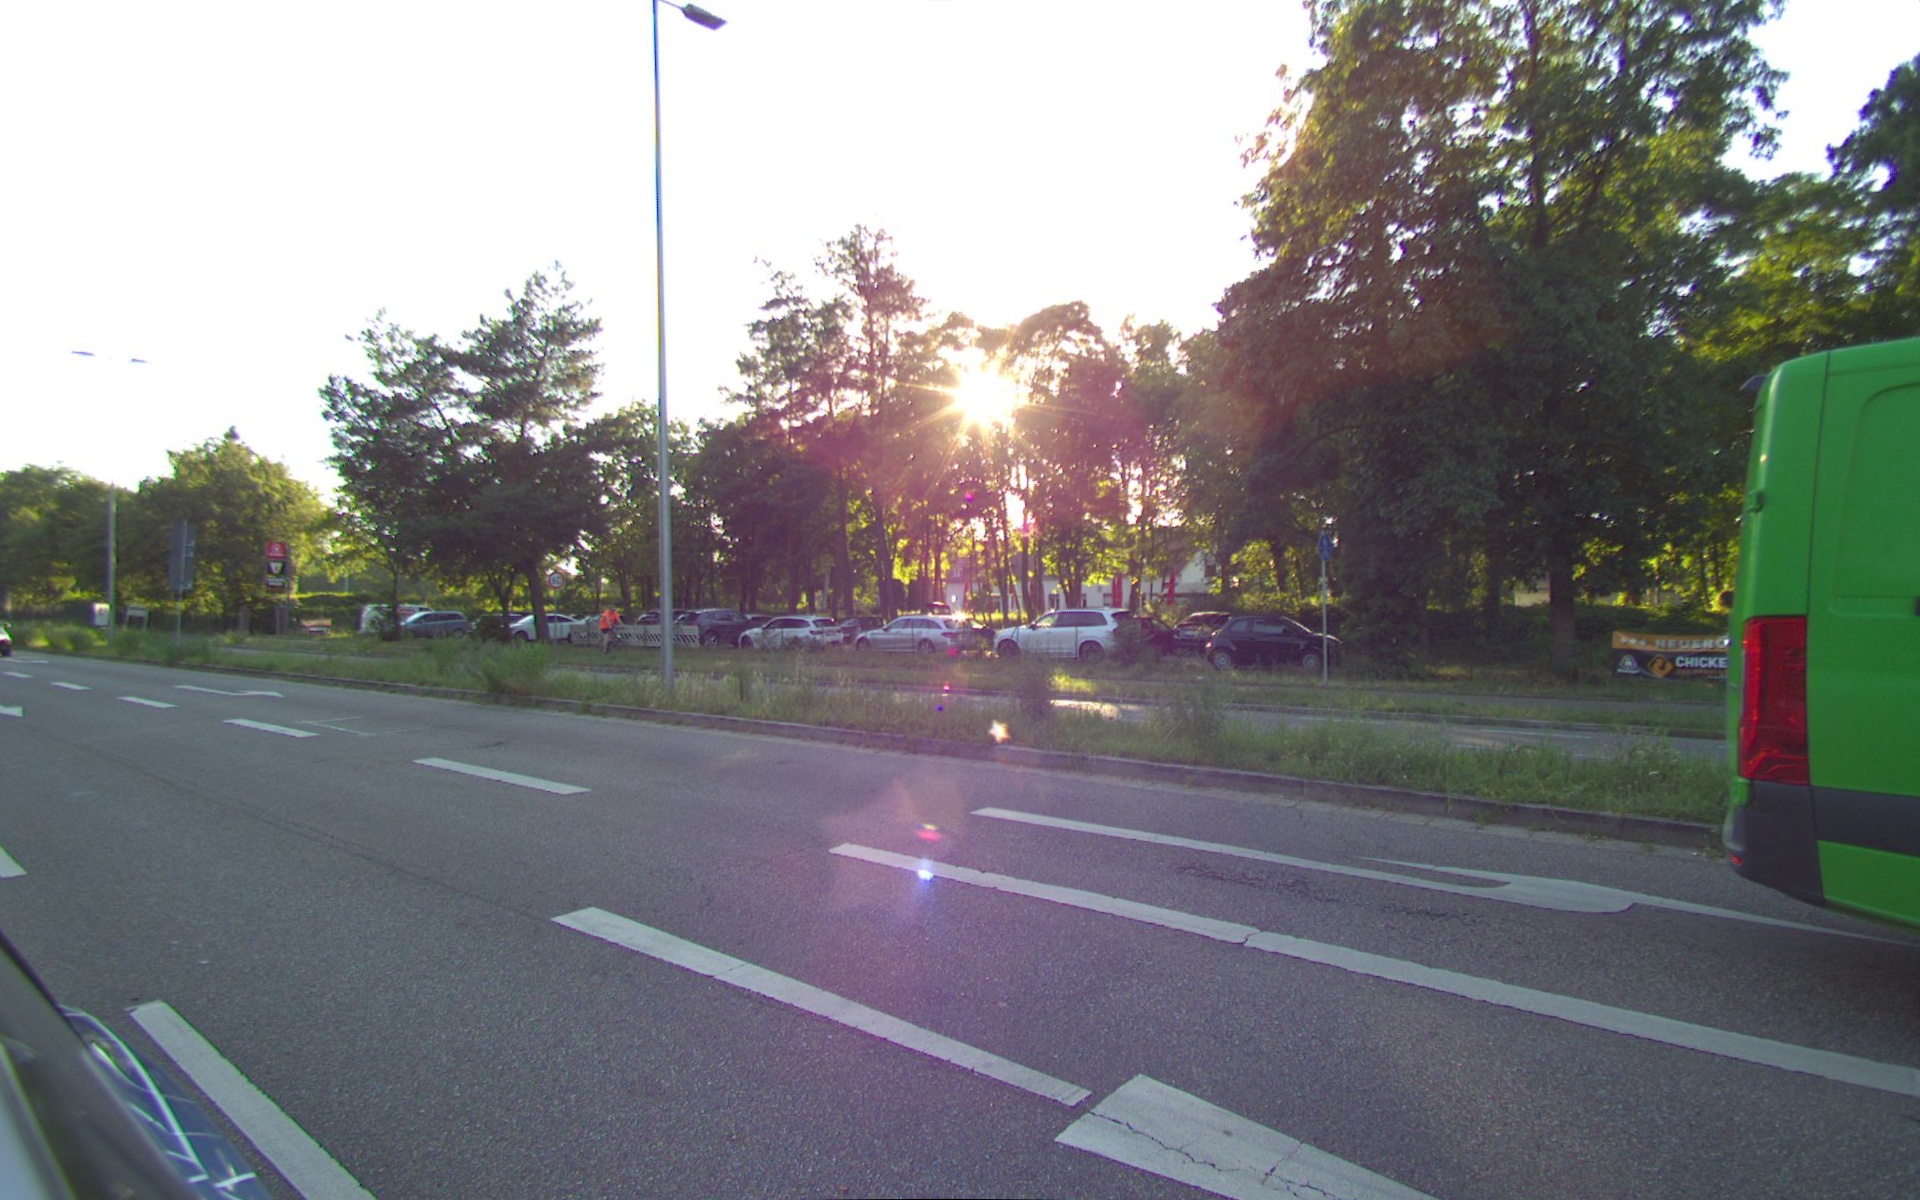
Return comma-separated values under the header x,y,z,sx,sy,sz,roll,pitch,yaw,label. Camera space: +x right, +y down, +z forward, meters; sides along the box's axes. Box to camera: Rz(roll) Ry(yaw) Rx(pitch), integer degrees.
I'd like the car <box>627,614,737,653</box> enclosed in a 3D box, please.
x,y,z,sx,sy,sz,roll,pitch,yaw,label
-11.982,1.421,43.919,1.769,1.629,4.470,-1,-2,37,car

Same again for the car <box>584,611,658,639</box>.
x,y,z,sx,sy,sz,roll,pitch,yaw,label
-20.488,1.511,61.240,1.765,1.663,3.947,-1,-2,40,car

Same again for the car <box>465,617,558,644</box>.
x,y,z,sx,sy,sz,roll,pitch,yaw,label
-22.723,1.543,51.371,1.731,1.322,3.947,-1,-2,39,car

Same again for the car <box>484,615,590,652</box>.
x,y,z,sx,sy,sz,roll,pitch,yaw,label
-20.796,1.627,49.846,1.908,1.767,4.441,-1,-2,39,car

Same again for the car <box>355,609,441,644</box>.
x,y,z,sx,sy,sz,roll,pitch,yaw,label
-32.534,1.521,58.668,1.764,1.959,3.949,-1,-2,38,car

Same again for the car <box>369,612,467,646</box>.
x,y,z,sx,sy,sz,roll,pitch,yaw,label
-30.263,1.610,56.640,1.907,1.811,4.443,-1,-2,38,car

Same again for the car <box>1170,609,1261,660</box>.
x,y,z,sx,sy,sz,roll,pitch,yaw,label
9.007,1.178,35.443,1.914,1.663,3.954,-1,-1,34,car

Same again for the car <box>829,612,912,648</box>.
x,y,z,sx,sy,sz,roll,pitch,yaw,label
-4.313,1.455,49.047,1.765,1.663,3.947,-1,-2,39,car

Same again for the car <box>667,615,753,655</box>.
x,y,z,sx,sy,sz,roll,pitch,yaw,label
-10.147,1.409,41.184,1.657,1.538,3.060,-1,-2,38,car

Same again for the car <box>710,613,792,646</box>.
x,y,z,sx,sy,sz,roll,pitch,yaw,label
-10.894,1.526,52.949,1.765,1.663,3.947,-1,-2,40,car

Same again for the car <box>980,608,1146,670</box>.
x,y,z,sx,sy,sz,roll,pitch,yaw,label
3.180,1.181,31.805,4.913,1.800,1.975,-1,-2,37,car

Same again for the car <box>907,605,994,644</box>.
x,y,z,sx,sy,sz,roll,pitch,yaw,label
-0.378,1.108,45.112,1.765,1.663,3.947,-1,-2,39,car

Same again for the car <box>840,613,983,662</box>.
x,y,z,sx,sy,sz,roll,pitch,yaw,label
-1.740,1.290,35.592,4.913,1.619,1.975,-1,-2,37,car

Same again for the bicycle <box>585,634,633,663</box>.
x,y,z,sx,sy,sz,roll,pitch,yaw,label
-12.006,1.656,34.561,2.040,0.940,0.487,-1,-2,36,bicycle

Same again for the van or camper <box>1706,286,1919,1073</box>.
x,y,z,sx,sy,sz,roll,pitch,yaw,label
5.451,0.222,2.318,5.892,2.439,1.973,-1,-2,40,van or camper

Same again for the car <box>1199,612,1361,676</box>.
x,y,z,sx,sy,sz,roll,pitch,yaw,label
8.578,1.151,27.249,3.807,1.609,1.838,-1,-2,36,car

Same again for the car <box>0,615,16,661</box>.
x,y,z,sx,sy,sz,roll,pitch,yaw,label
-34.110,1.288,34.733,3.996,1.564,1.974,-1,-2,39,car

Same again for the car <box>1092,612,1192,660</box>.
x,y,z,sx,sy,sz,roll,pitch,yaw,label
6.829,1.316,37.845,1.918,1.663,3.944,-1,-2,42,car

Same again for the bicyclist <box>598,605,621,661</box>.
x,y,z,sx,sy,sz,roll,pitch,yaw,label
-11.969,1.137,34.558,0.616,1.888,0.454,-1,-2,35,bicyclist

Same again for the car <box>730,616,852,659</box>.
x,y,z,sx,sy,sz,roll,pitch,yaw,label
-6.598,1.420,39.295,4.701,1.560,1.975,-1,-2,37,car
